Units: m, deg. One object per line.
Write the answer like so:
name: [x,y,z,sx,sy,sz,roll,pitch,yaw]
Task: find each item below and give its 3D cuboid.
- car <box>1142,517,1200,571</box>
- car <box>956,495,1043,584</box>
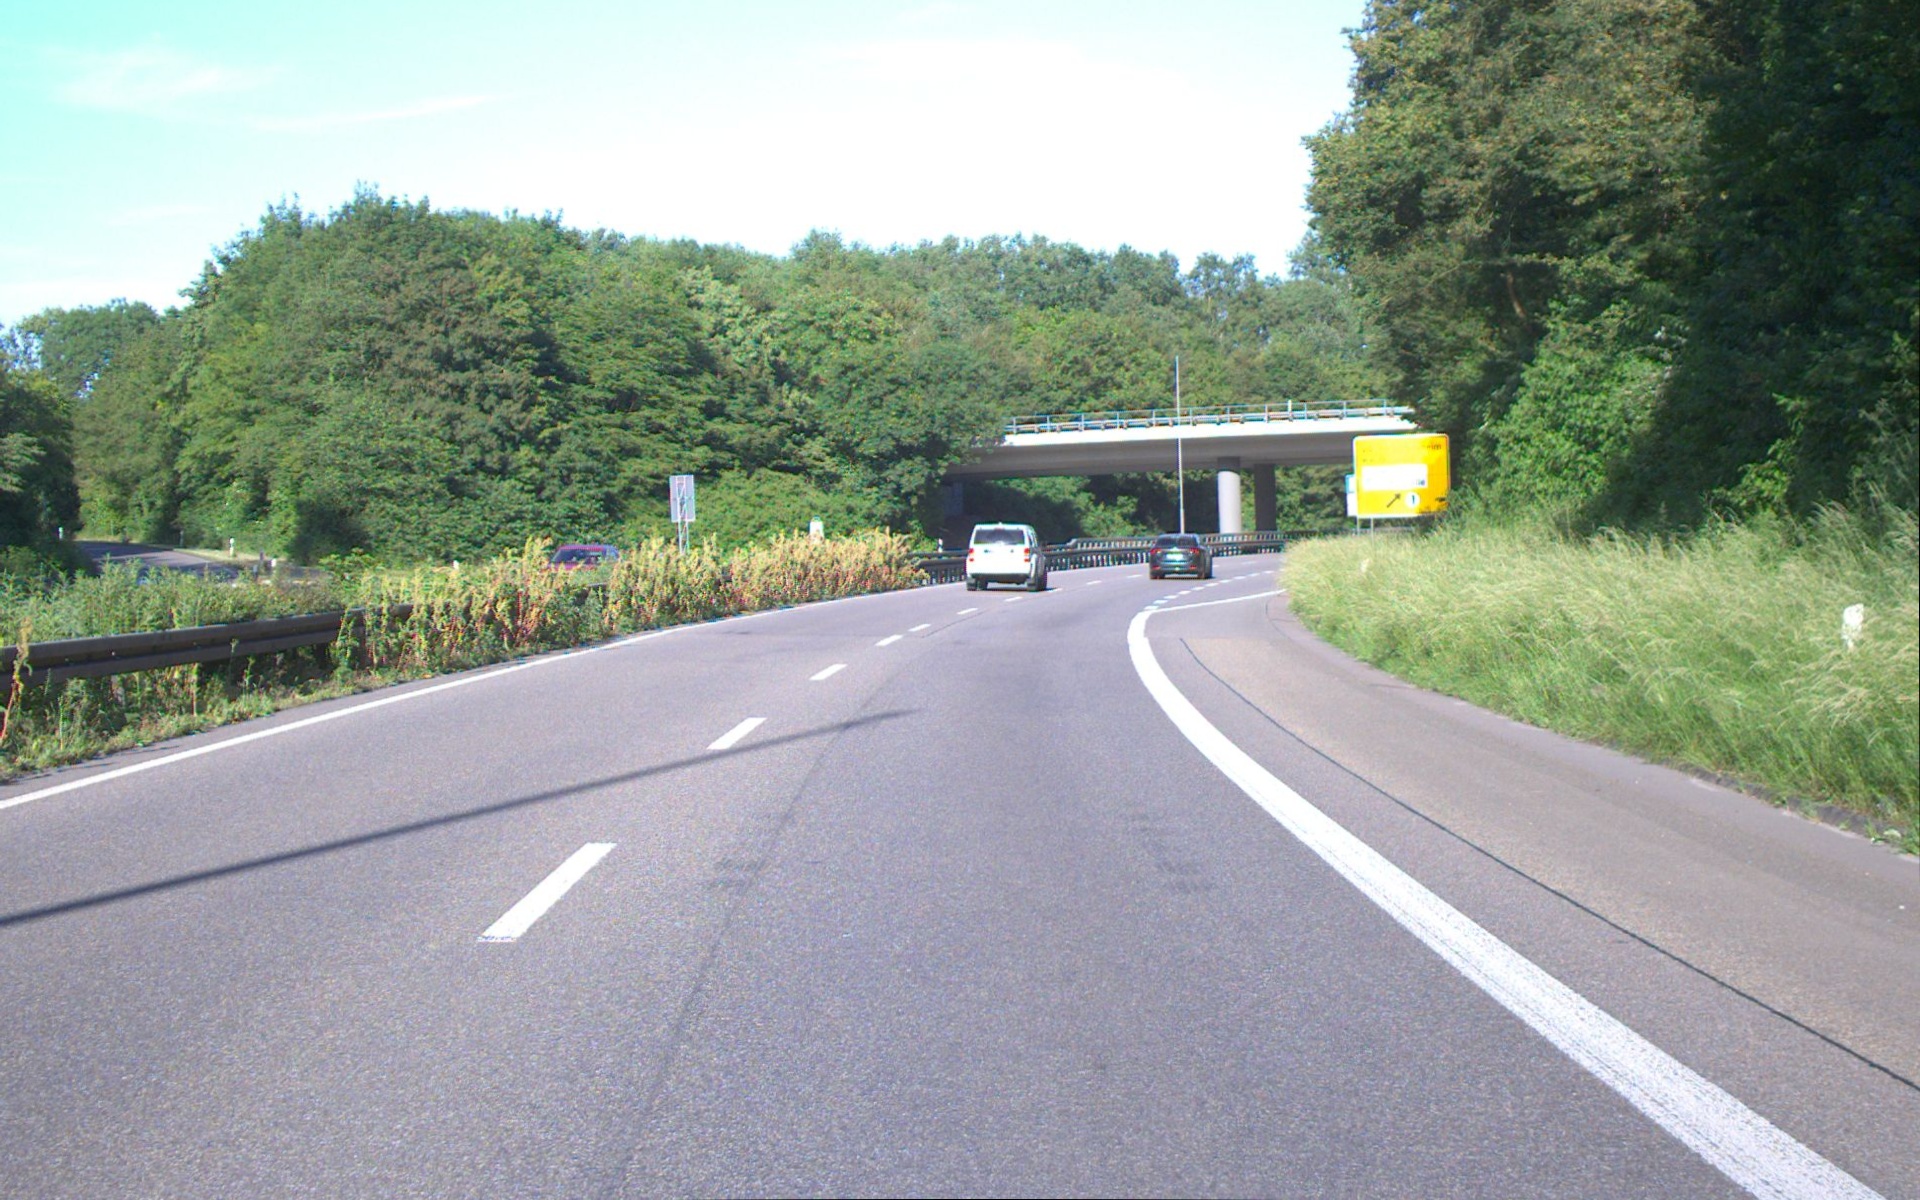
car: [6.848,-1.831,111.309,1.739,1.656,3.945,-1,1,5]
car: [1.071,-1.630,91.245,1.994,2.269,4.000,-1,1,4]
